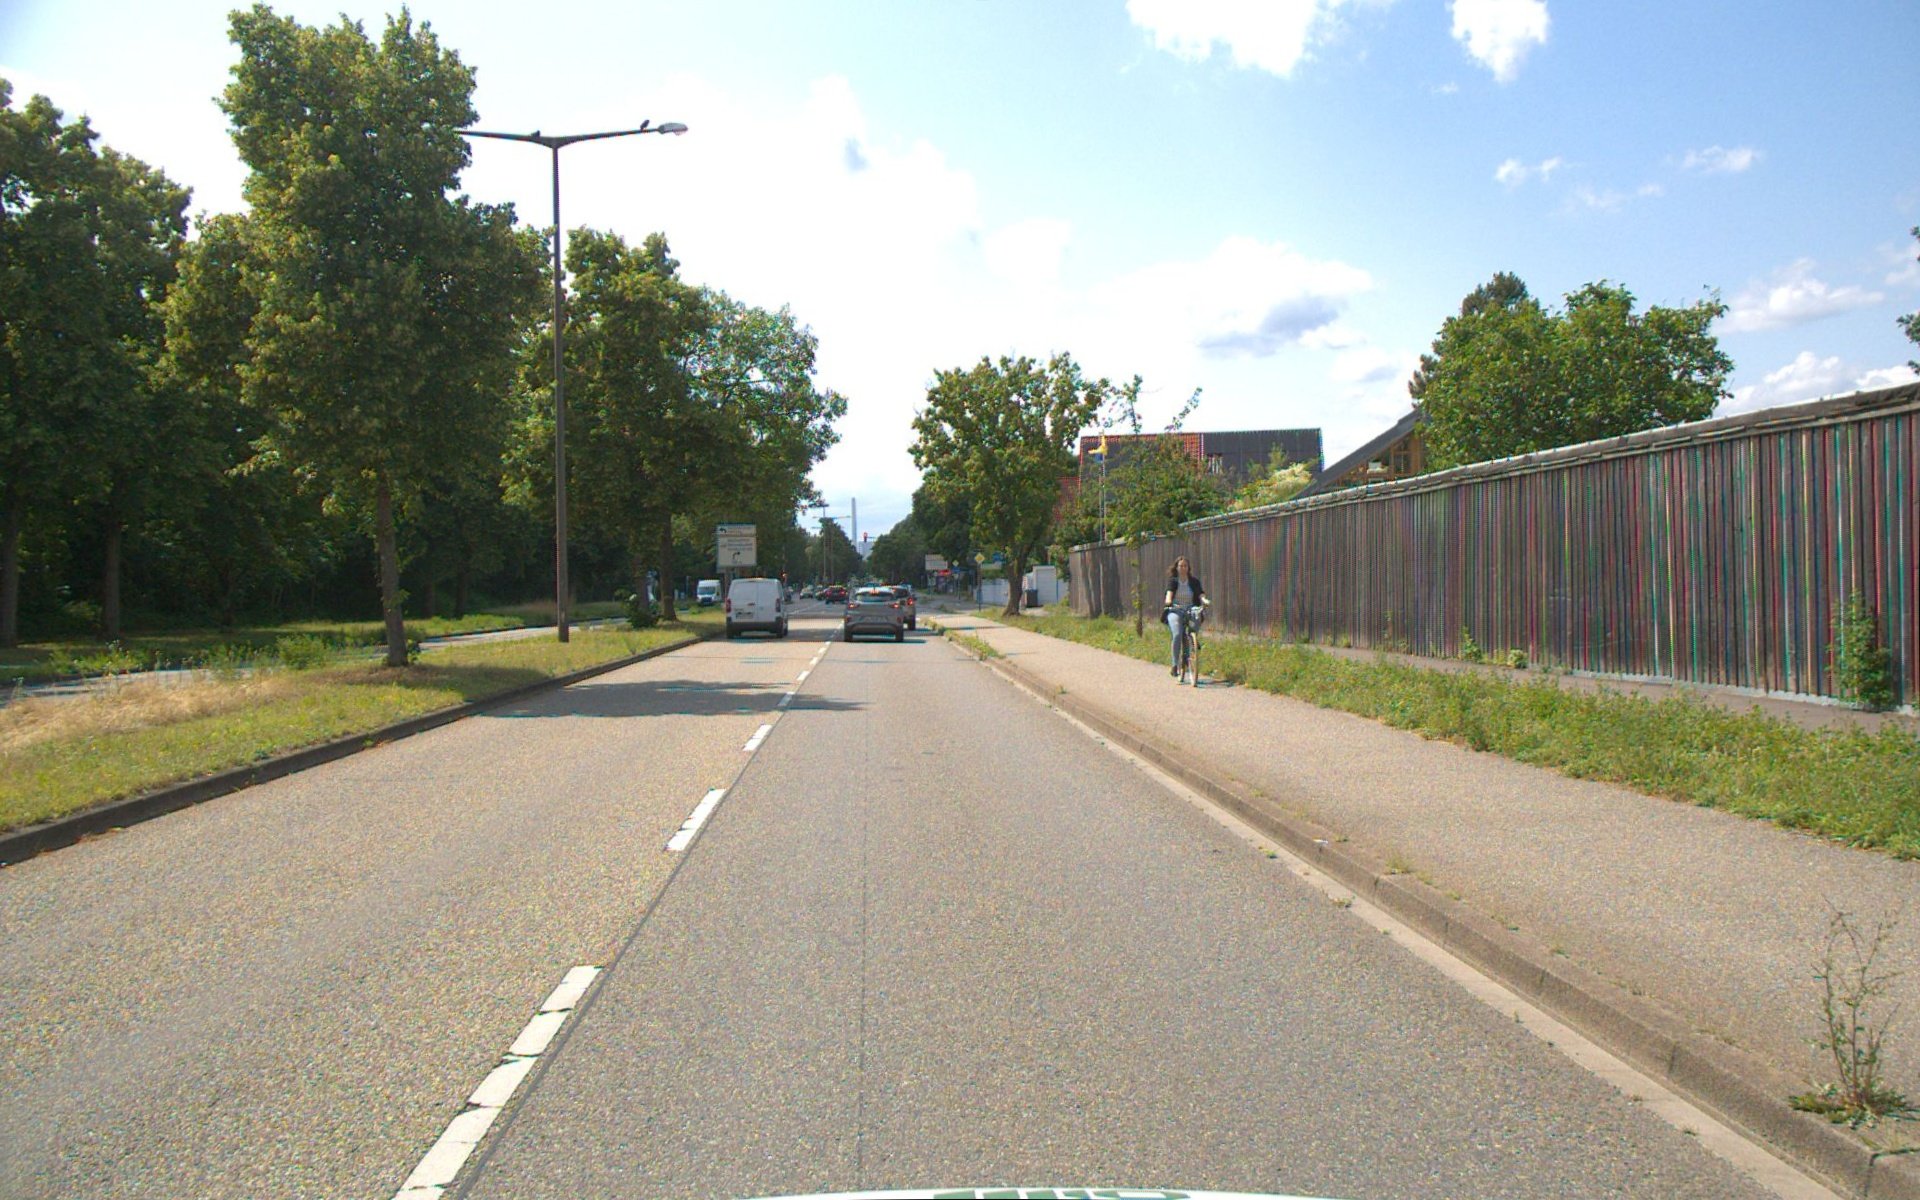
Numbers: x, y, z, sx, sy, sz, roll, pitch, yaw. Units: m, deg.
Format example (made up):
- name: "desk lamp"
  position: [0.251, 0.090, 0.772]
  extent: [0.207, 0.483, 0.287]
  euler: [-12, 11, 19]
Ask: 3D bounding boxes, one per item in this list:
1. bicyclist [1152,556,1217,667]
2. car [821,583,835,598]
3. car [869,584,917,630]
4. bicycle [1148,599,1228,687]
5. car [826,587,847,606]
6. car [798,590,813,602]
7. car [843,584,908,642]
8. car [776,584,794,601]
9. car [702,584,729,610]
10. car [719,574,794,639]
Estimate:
- name: "bicyclist"
  position: [3.055, 0.149, 22.585]
  extent: [0.641, 1.436, 0.986]
  euler: [-3, 0, -2]
- name: "car"
  position: [-17.162, -1.234, 214.993]
  extent: [1.744, 1.798, 4.148]
  euler: [-1, 0, -3]
- name: "car"
  position: [-2.570, 0.241, 63.291]
  extent: [1.744, 1.672, 4.194]
  euler: [-1, 0, -3]
- name: "bicycle"
  position: [3.081, 0.558, 22.582]
  extent: [0.633, 1.086, 2.277]
  euler: [-4, 1, -2]
- name: "car"
  position: [-12.047, -0.376, 161.941]
  extent: [1.902, 1.798, 4.144]
  euler: [-1, 0, -3]
- name: "car"
  position: [-21.003, -0.577, 224.583]
  extent: [1.854, 1.616, 4.107]
  euler: [-1, 0, -3]
- name: "car"
  position: [-2.508, 0.346, 49.154]
  extent: [1.838, 1.616, 4.182]
  euler: [-1, 0, -3]
- name: "car"
  position: [-18.916, -0.864, 178.999]
  extent: [1.744, 1.798, 4.123]
  euler: [-1, 0, -3]
- name: "car"
  position: [-23.588, -0.328, 159.790]
  extent: [2.005, 2.474, 5.247]
  euler: [-1, 0, -3]
- name: "car"
  position: [-6.417, 0.170, 52.639]
  extent: [2.025, 1.945, 4.643]
  euler: [-1, 1, -3]
